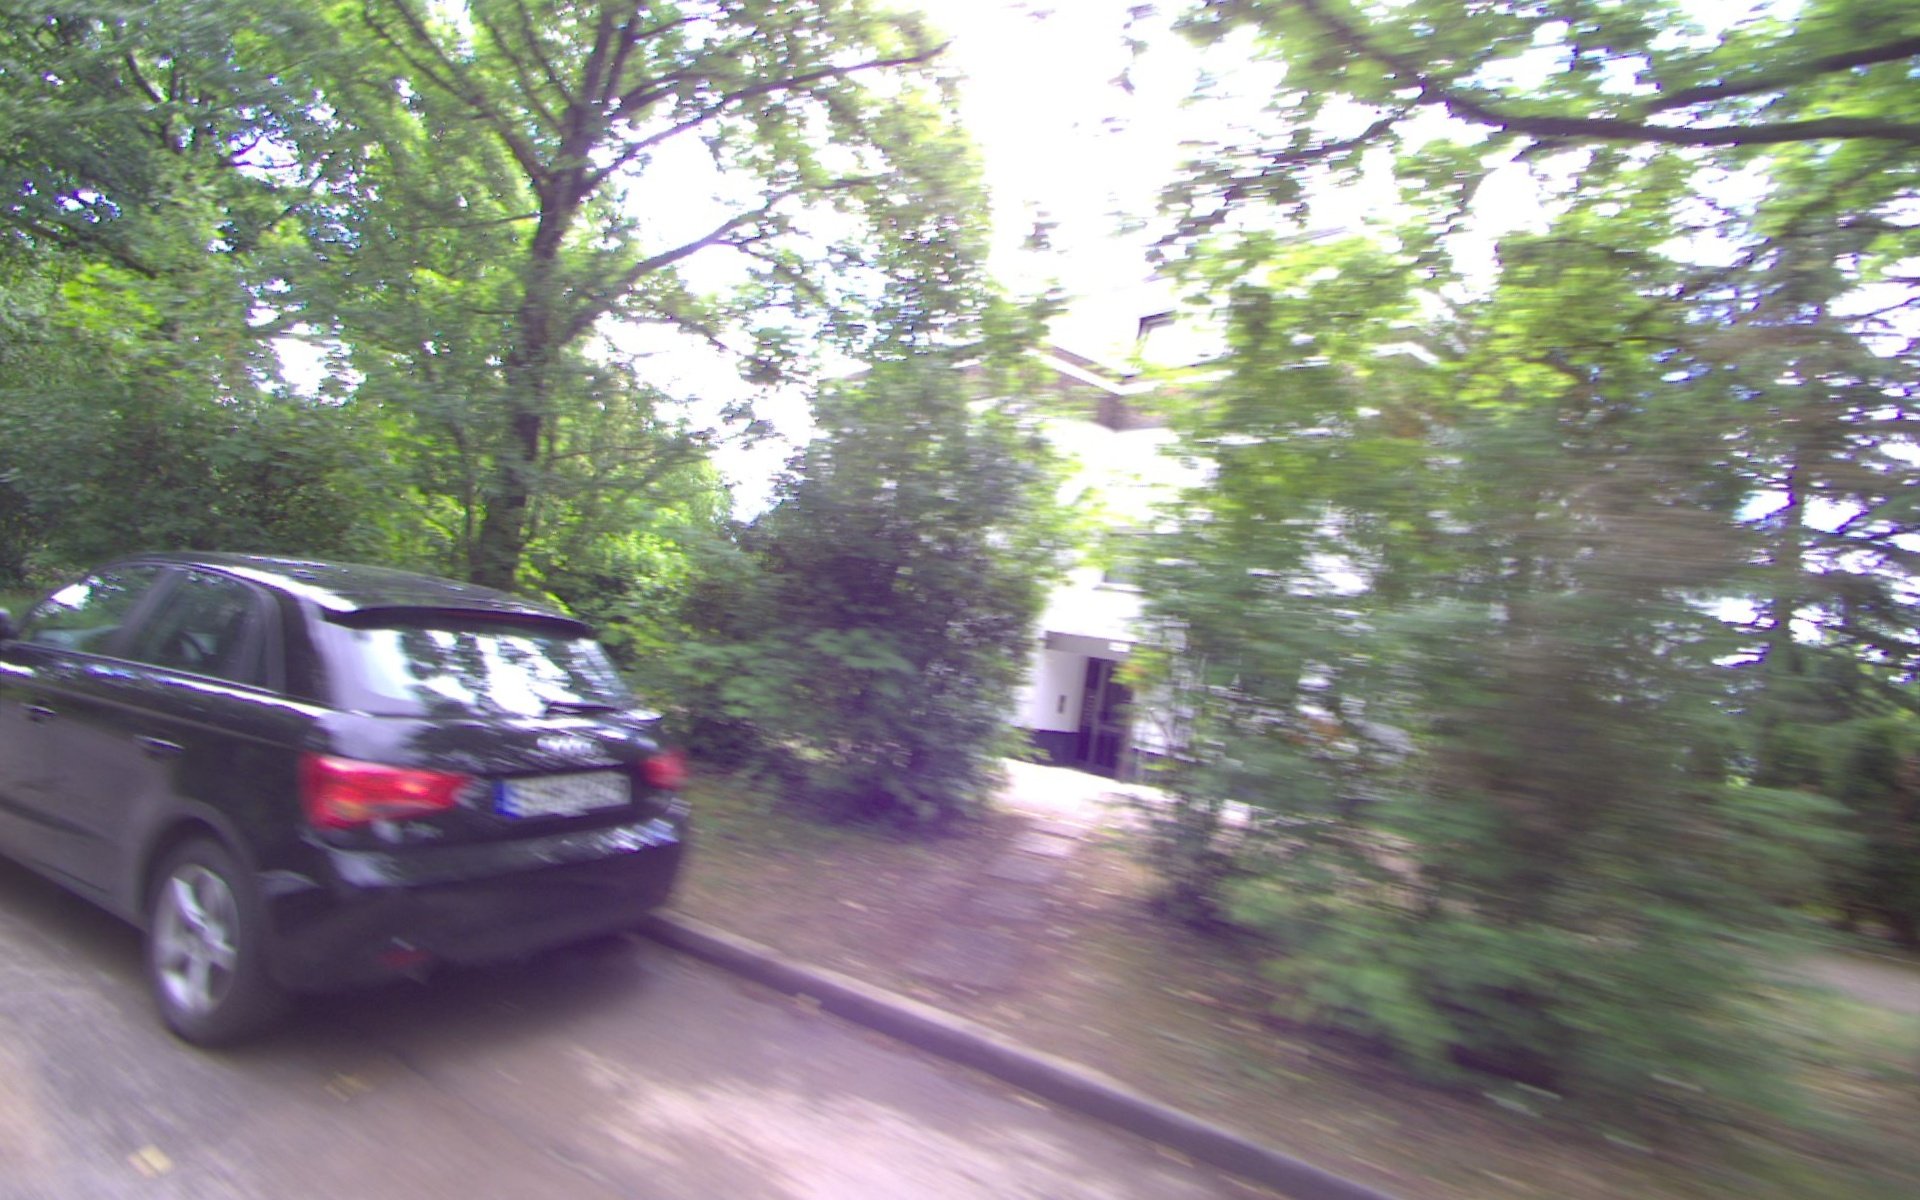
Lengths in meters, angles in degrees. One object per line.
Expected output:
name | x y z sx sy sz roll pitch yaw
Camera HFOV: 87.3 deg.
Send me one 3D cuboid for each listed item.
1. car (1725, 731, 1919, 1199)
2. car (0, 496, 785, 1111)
car | 3.387 1.183 0.549 4.401 1.491 1.853 7 -3 28
car | -2.896 0.480 4.276 3.849 1.469 1.726 7 -2 28
